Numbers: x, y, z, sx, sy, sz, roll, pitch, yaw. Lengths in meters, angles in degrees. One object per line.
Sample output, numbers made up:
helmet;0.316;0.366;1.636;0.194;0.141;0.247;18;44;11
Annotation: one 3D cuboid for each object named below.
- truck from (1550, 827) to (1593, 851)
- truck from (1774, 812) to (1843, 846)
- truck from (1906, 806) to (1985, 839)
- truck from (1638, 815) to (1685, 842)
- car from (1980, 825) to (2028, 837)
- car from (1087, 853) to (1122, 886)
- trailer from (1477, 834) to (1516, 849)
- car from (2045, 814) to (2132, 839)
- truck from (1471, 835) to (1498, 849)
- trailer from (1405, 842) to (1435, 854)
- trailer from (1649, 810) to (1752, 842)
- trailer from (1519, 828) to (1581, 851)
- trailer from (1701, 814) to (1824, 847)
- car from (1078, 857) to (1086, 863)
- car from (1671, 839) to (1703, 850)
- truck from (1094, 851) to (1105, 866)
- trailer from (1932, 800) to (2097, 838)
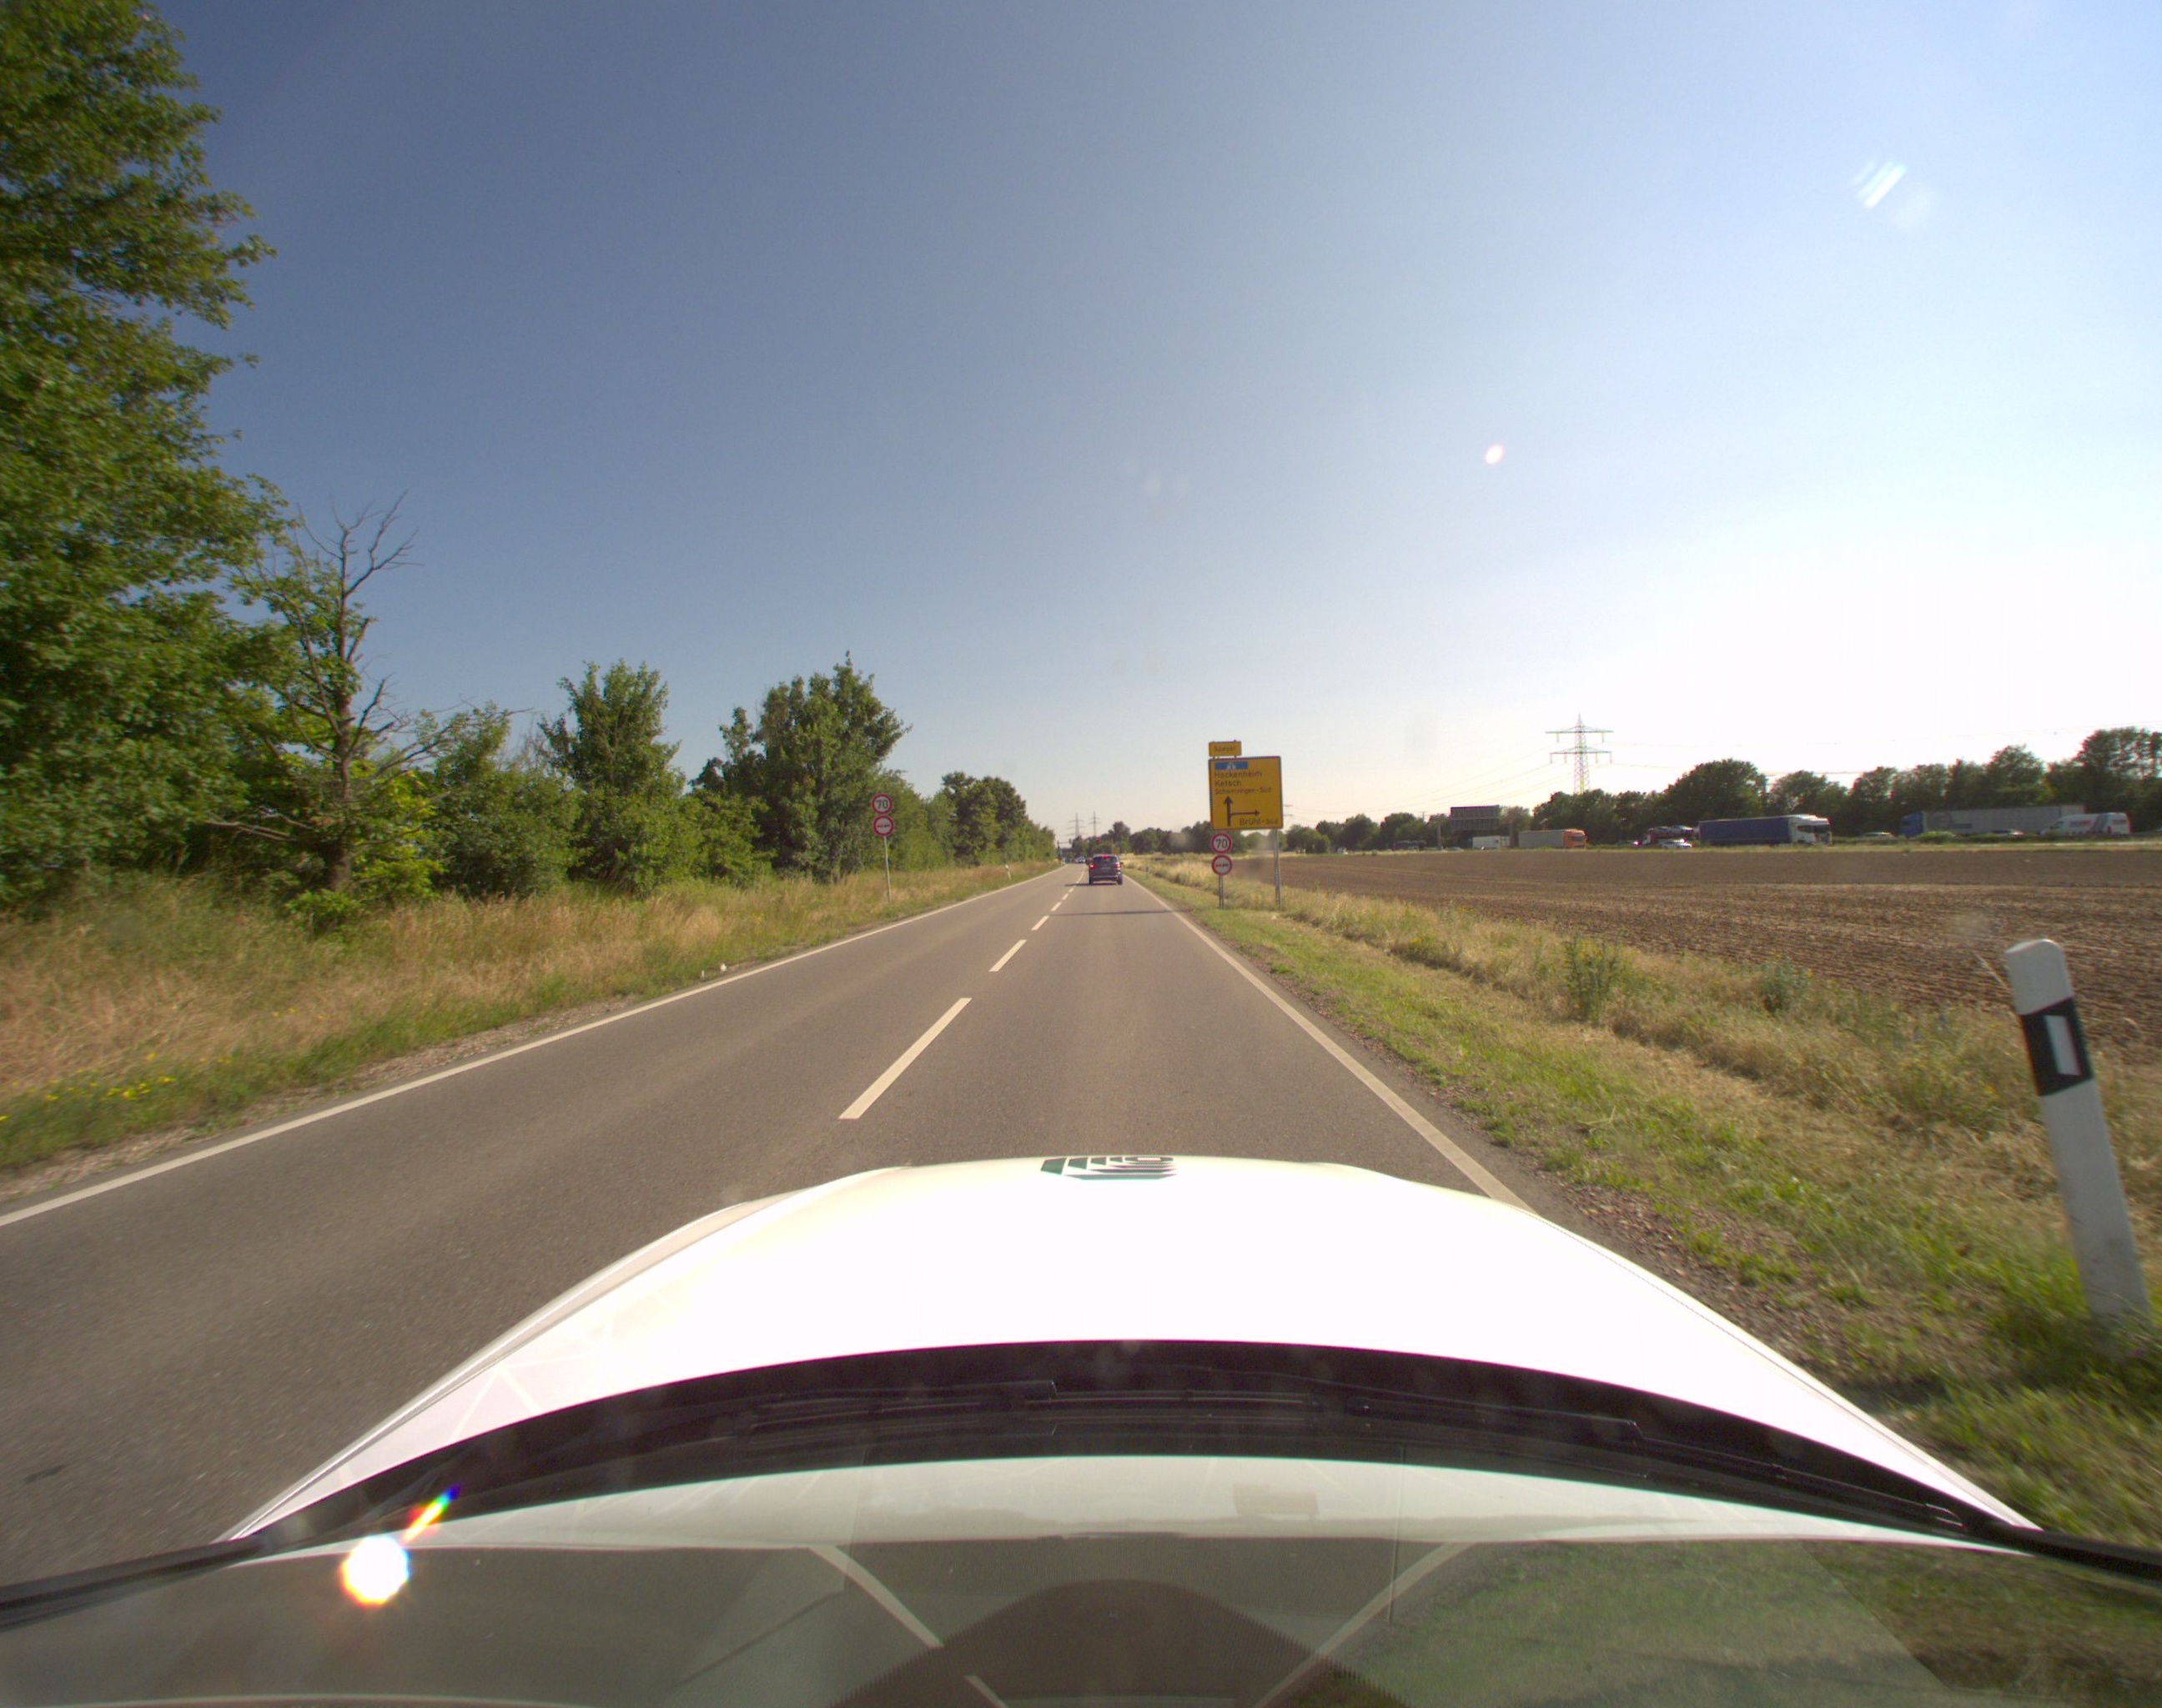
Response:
truck;84.656;-2.530;140.784;3.094;3.849;6.948;-1;0;-1
truck;84.784;-2.866;95.066;3.063;3.802;5.609;-1;1;-1
truck;102.787;-3.670;96.942;3.060;3.733;6.090;-1;1;2
truck;103.100;-4.454;144.758;3.412;4.452;6.702;-2;-1;-2
car;96.418;-2.398;85.088;1.390;1.151;3.181;-1;0;0
car;1.222;0.798;44.158;1.780;1.629;4.000;-2;0;0
trailer;103.588;-3.057;203.460;3.274;3.267;12.451;-2;-1;-1
car;96.406;-2.567;78.016;1.899;2.200;5.237;-1;0;0
truck;103.506;-3.003;209.186;3.274;3.267;6.976;-2;-1;-1
trailer;102.548;-1.812;246.742;3.274;3.267;13.449;-2;0;-1
trailer;103.293;-4.539;136.435;3.411;4.452;17.553;-2;-1;-1
trailer;84.577;-2.517;147.235;3.094;3.849;13.713;-1;0;-1
trailer;84.689;-2.836;101.900;3.063;3.802;14.587;-1;1;-1
car;0.278;1.677;225.785;1.812;1.540;3.995;-2;0;-3
car;89.375;-1.395;120.099;1.679;1.575;4.200;0;0;1
truck;3.859;0.972;171.131;2.329;3.066;5.811;-1;-1;1
trailer;102.543;-3.707;90.069;3.060;3.733;13.637;-1;1;2
